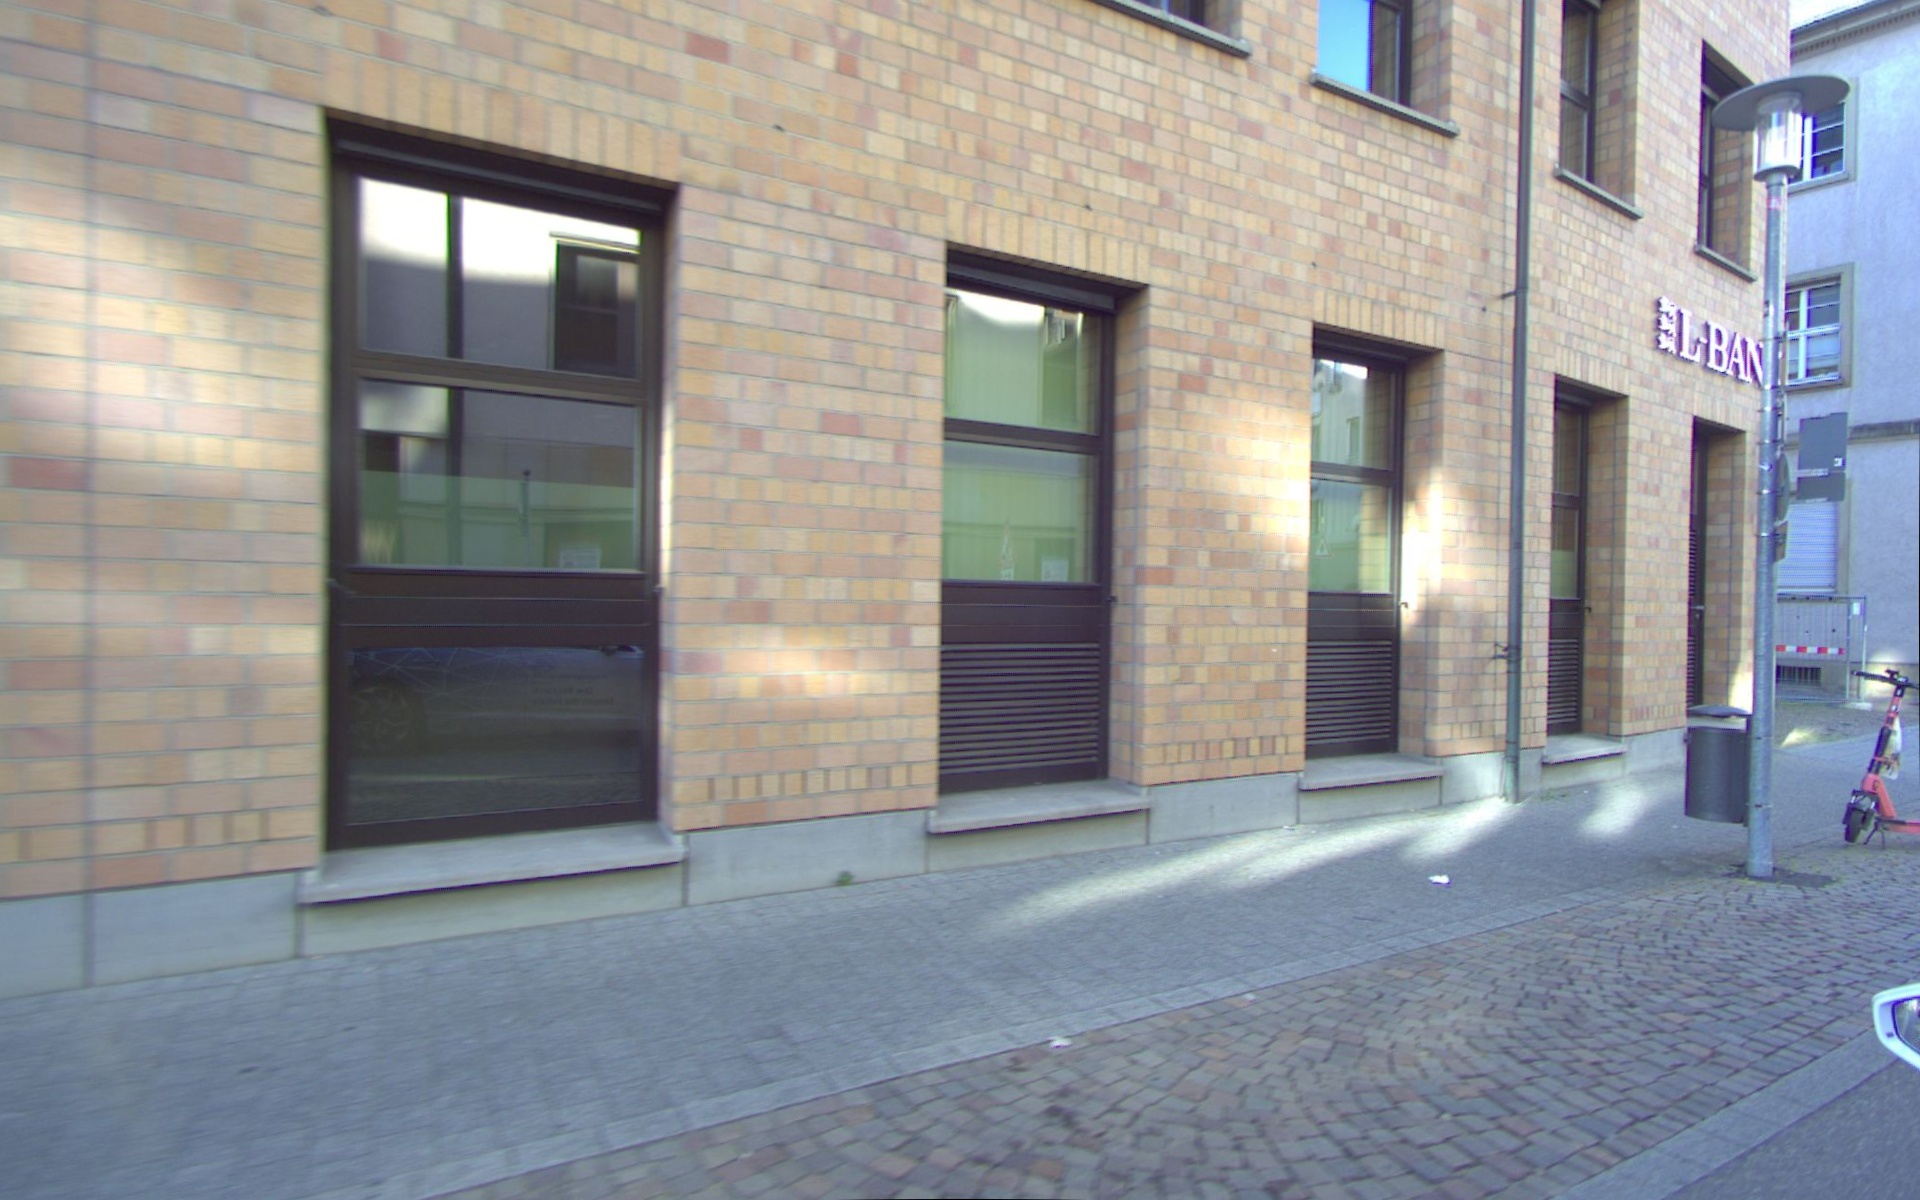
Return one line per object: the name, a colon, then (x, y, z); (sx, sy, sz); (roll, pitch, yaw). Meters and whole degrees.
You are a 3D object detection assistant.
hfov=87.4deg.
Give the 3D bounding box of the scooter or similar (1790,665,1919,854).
scooter or similar: (6.864, 1.106, 7.165); (1.331, 1.233, 0.699); (1, 0, -4)
